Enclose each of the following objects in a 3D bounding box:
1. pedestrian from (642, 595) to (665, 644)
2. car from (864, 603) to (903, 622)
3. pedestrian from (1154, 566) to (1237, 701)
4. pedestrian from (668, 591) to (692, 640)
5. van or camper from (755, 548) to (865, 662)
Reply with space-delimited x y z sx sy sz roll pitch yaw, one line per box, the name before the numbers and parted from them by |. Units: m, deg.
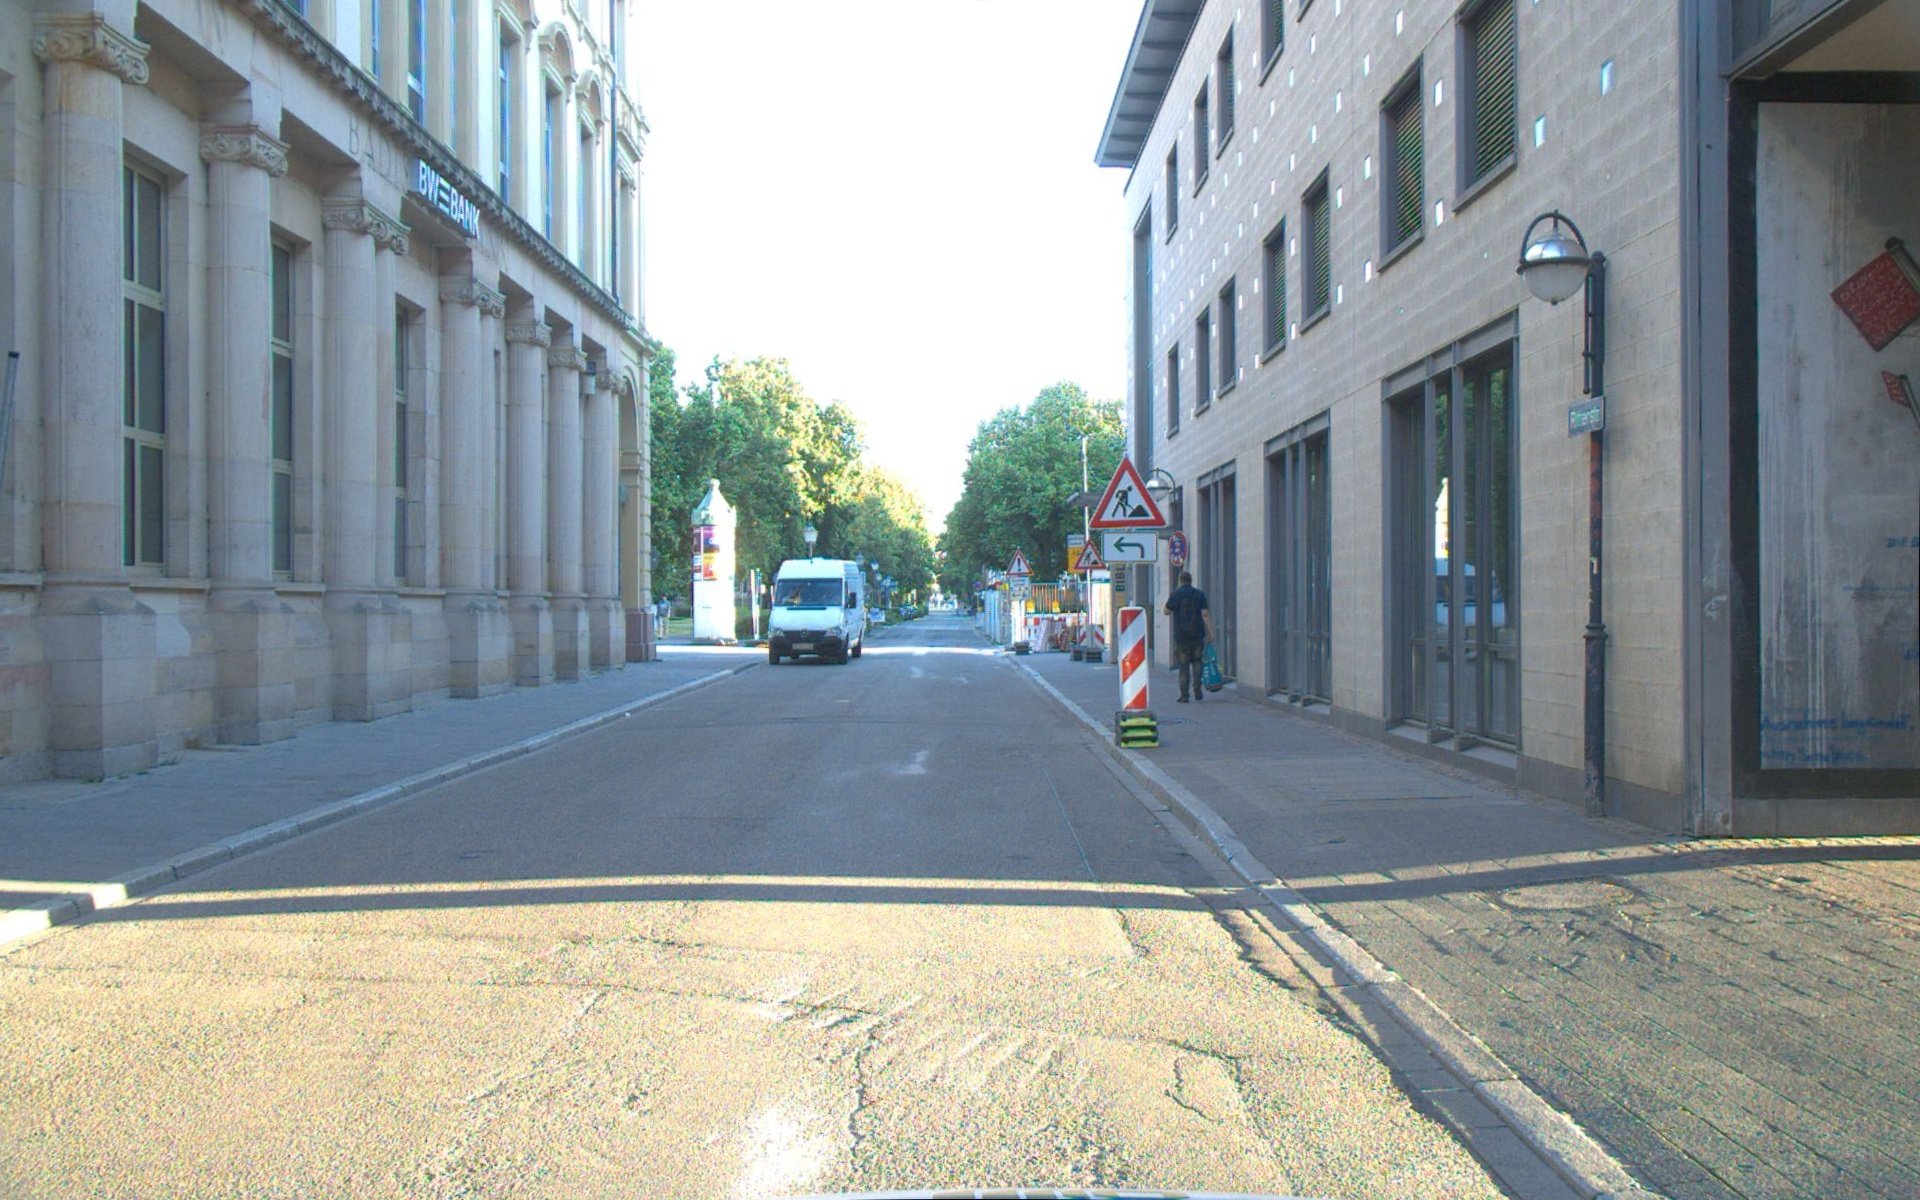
pedestrian | -11.633 0.725 62.740 0.835 1.839 0.661 0 0 -14
car | -7.417 1.230 160.853 3.486 1.814 1.791 -1 -1 9
pedestrian | 3.295 0.464 23.233 0.980 1.835 0.881 -2 -1 -1
pedestrian | -10.670 0.587 63.057 0.835 1.839 0.661 0 0 -14
van or camper | -3.652 0.104 41.439 2.174 2.630 6.371 0 0 0
